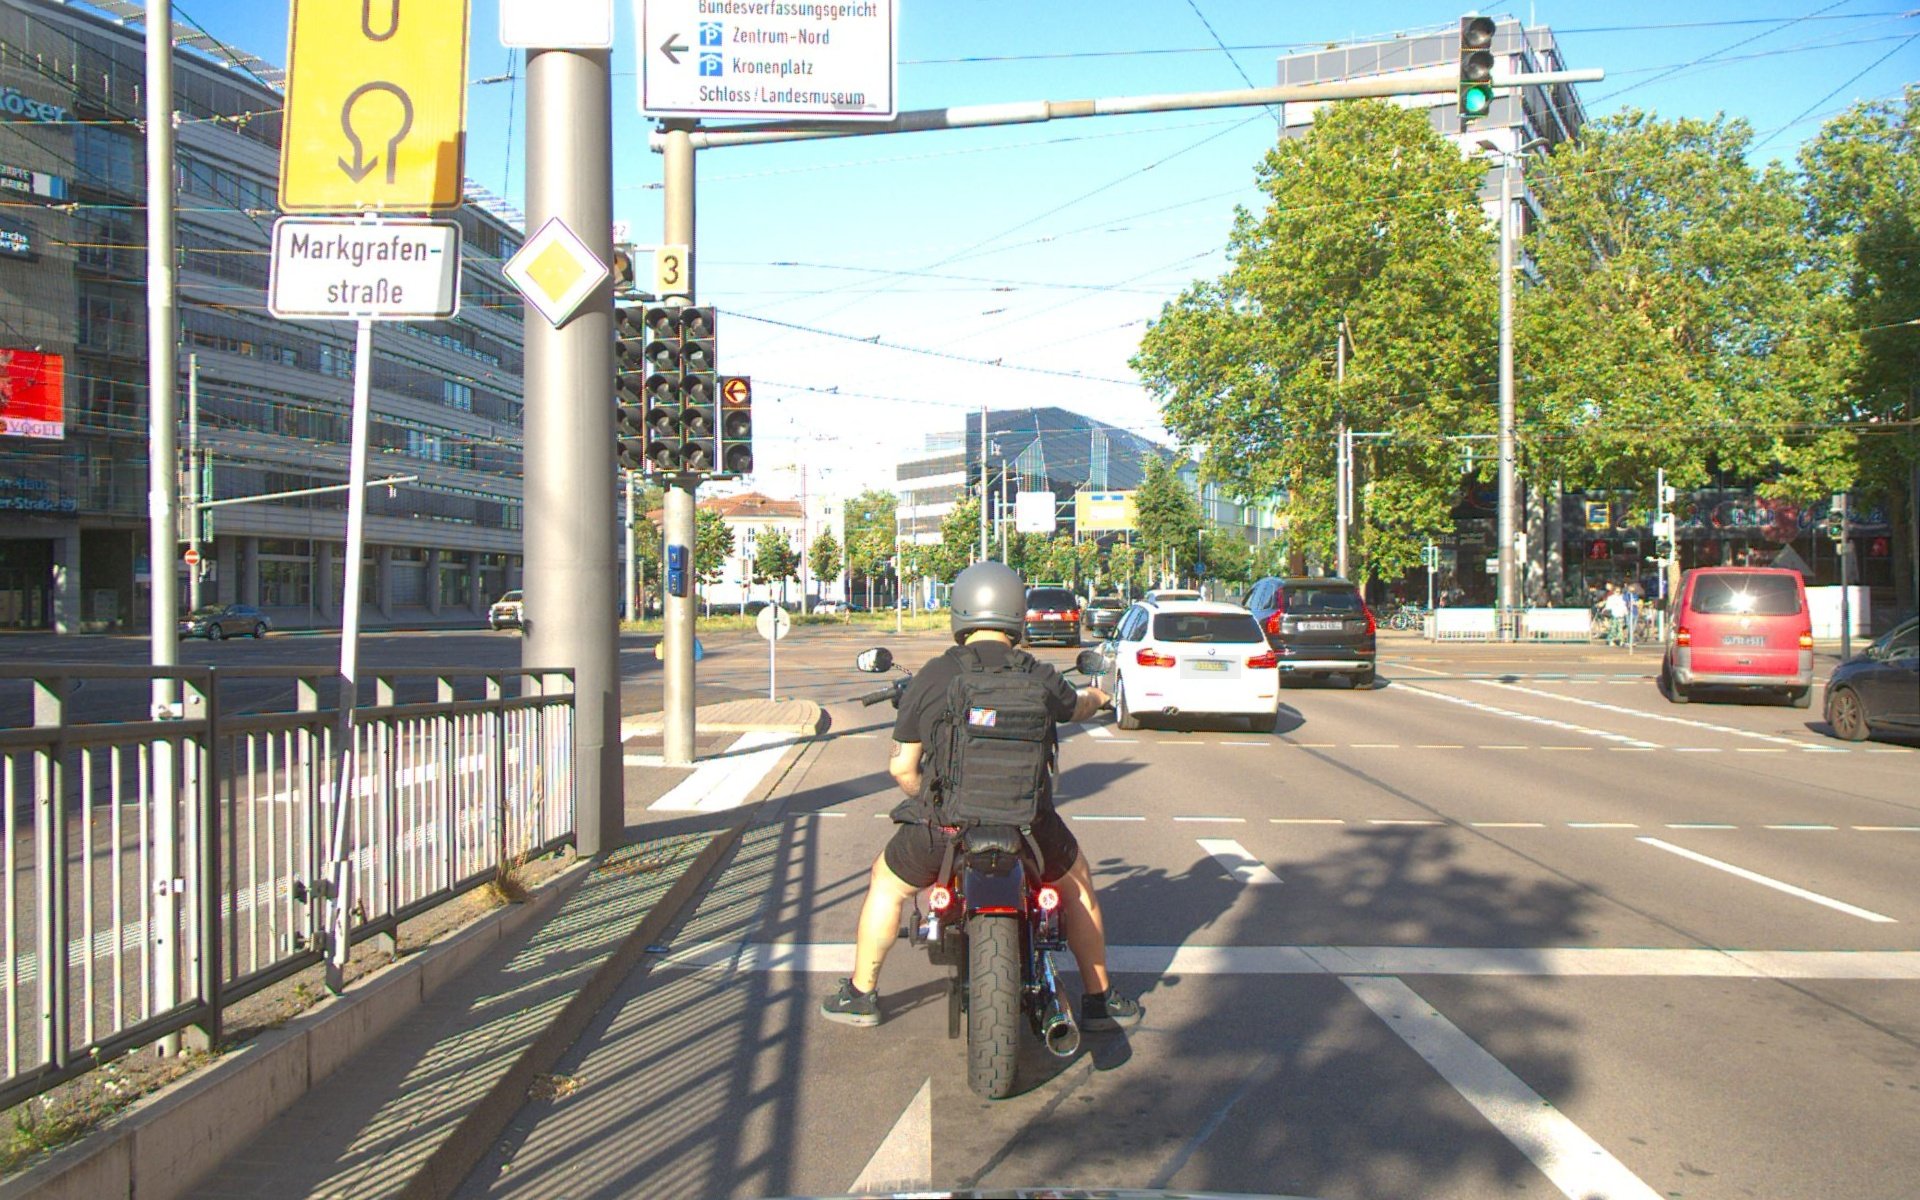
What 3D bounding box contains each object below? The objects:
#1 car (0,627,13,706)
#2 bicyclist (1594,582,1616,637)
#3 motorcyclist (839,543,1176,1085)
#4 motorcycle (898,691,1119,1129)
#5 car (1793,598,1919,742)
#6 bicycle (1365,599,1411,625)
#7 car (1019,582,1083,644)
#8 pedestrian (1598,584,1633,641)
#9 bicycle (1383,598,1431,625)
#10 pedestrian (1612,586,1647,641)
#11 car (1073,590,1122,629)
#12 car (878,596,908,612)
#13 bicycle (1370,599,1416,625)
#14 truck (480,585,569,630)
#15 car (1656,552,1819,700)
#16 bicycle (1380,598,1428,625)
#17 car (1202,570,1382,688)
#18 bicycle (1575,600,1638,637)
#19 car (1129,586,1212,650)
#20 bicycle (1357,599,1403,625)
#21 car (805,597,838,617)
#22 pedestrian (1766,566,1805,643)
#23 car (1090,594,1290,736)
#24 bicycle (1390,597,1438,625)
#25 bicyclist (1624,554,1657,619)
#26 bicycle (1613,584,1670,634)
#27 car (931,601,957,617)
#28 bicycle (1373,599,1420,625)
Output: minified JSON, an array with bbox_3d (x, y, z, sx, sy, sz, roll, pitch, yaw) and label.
[{"bbox_3d":[-14.588,0.894,22.427,2.835,1.081,1.235,1,-1,-22],"label":"car"},{"bbox_3d":[22.231,0.337,56.991,0.572,1.870,0.402,1,-1,-1],"label":"bicyclist"},{"bbox_3d":[0.137,0.638,5.399,1.009,1.621,0.873,0,0,-1],"label":"motorcyclist"},{"bbox_3d":[0.116,0.910,5.647,0.588,1.054,2.233,1,0,-1],"label":"motorcycle"},{"bbox_3d":[10.796,0.759,17.462,1.698,1.475,4.037,1,0,-5],"label":"car"},{"bbox_3d":[18.077,0.497,69.830,1.842,1.064,0.360,1,0,-2],"label":"bicycle"},{"bbox_3d":[2.610,0.393,48.301,1.766,1.708,4.042,1,-1,2],"label":"car"},{"bbox_3d":[18.097,0.349,45.690,0.560,1.559,0.695,1,-1,-30],"label":"pedestrian"},{"bbox_3d":[18.049,0.464,66.840,1.842,1.065,0.360,1,-1,-2],"label":"bicycle"},{"bbox_3d":[18.611,0.386,45.976,0.559,1.505,0.695,1,-1,-29],"label":"pedestrian"},{"bbox_3d":[6.282,0.426,75.843,1.767,1.708,4.039,1,-1,-2],"label":"car"},{"bbox_3d":[-6.084,0.367,151.194,1.786,1.455,4.244,1,-1,11],"label":"car"},{"bbox_3d":[18.158,0.500,69.333,1.842,1.064,0.360,1,0,-2],"label":"bicycle"},{"bbox_3d":[-20.095,0.345,76.562,1.951,1.912,5.160,-3,-1,9],"label":"truck"},{"bbox_3d":[11.735,0.380,25.215,1.766,2.044,4.474,-1,-1,19],"label":"car"},{"bbox_3d":[18.170,0.486,67.658,1.842,1.065,0.360,1,-1,-2],"label":"bicycle"},{"bbox_3d":[5.408,0.413,27.533,1.698,1.762,4.607,1,1,-5],"label":"car"},{"bbox_3d":[22.274,0.652,56.983,2.001,1.235,0.421,1,-1,-1],"label":"bicycle"},{"bbox_3d":[5.704,0.465,45.254,1.696,1.626,4.040,1,1,-1],"label":"car"},{"bbox_3d":[18.020,0.497,70.980,1.842,1.064,0.360,1,0,-2],"label":"bicycle"},{"bbox_3d":[-10.852,0.526,129.656,1.786,1.455,4.533,0,0,6],"label":"car"},{"bbox_3d":[21.144,0.114,42.395,0.774,1.931,0.817,1,-1,19],"label":"pedestrian"},{"bbox_3d":[2.616,0.713,19.776,1.696,1.482,4.417,1,-1,-1],"label":"car"},{"bbox_3d":[18.129,0.446,66.060,1.842,1.065,0.360,1,-1,-2],"label":"bicycle"},{"bbox_3d":[19.468,-0.382,47.329,0.686,1.840,0.724,0,-1,41],"label":"bicyclist"},{"bbox_3d":[19.601,0.263,47.519,0.714,1.391,2.903,0,-1,39],"label":"bicycle"},{"bbox_3d":[-1.643,0.913,167.967,1.712,1.550,4.003,1,-1,13],"label":"car"},{"bbox_3d":[18.176,0.509,68.847,1.842,1.065,0.360,1,-1,-2],"label":"bicycle"}]
